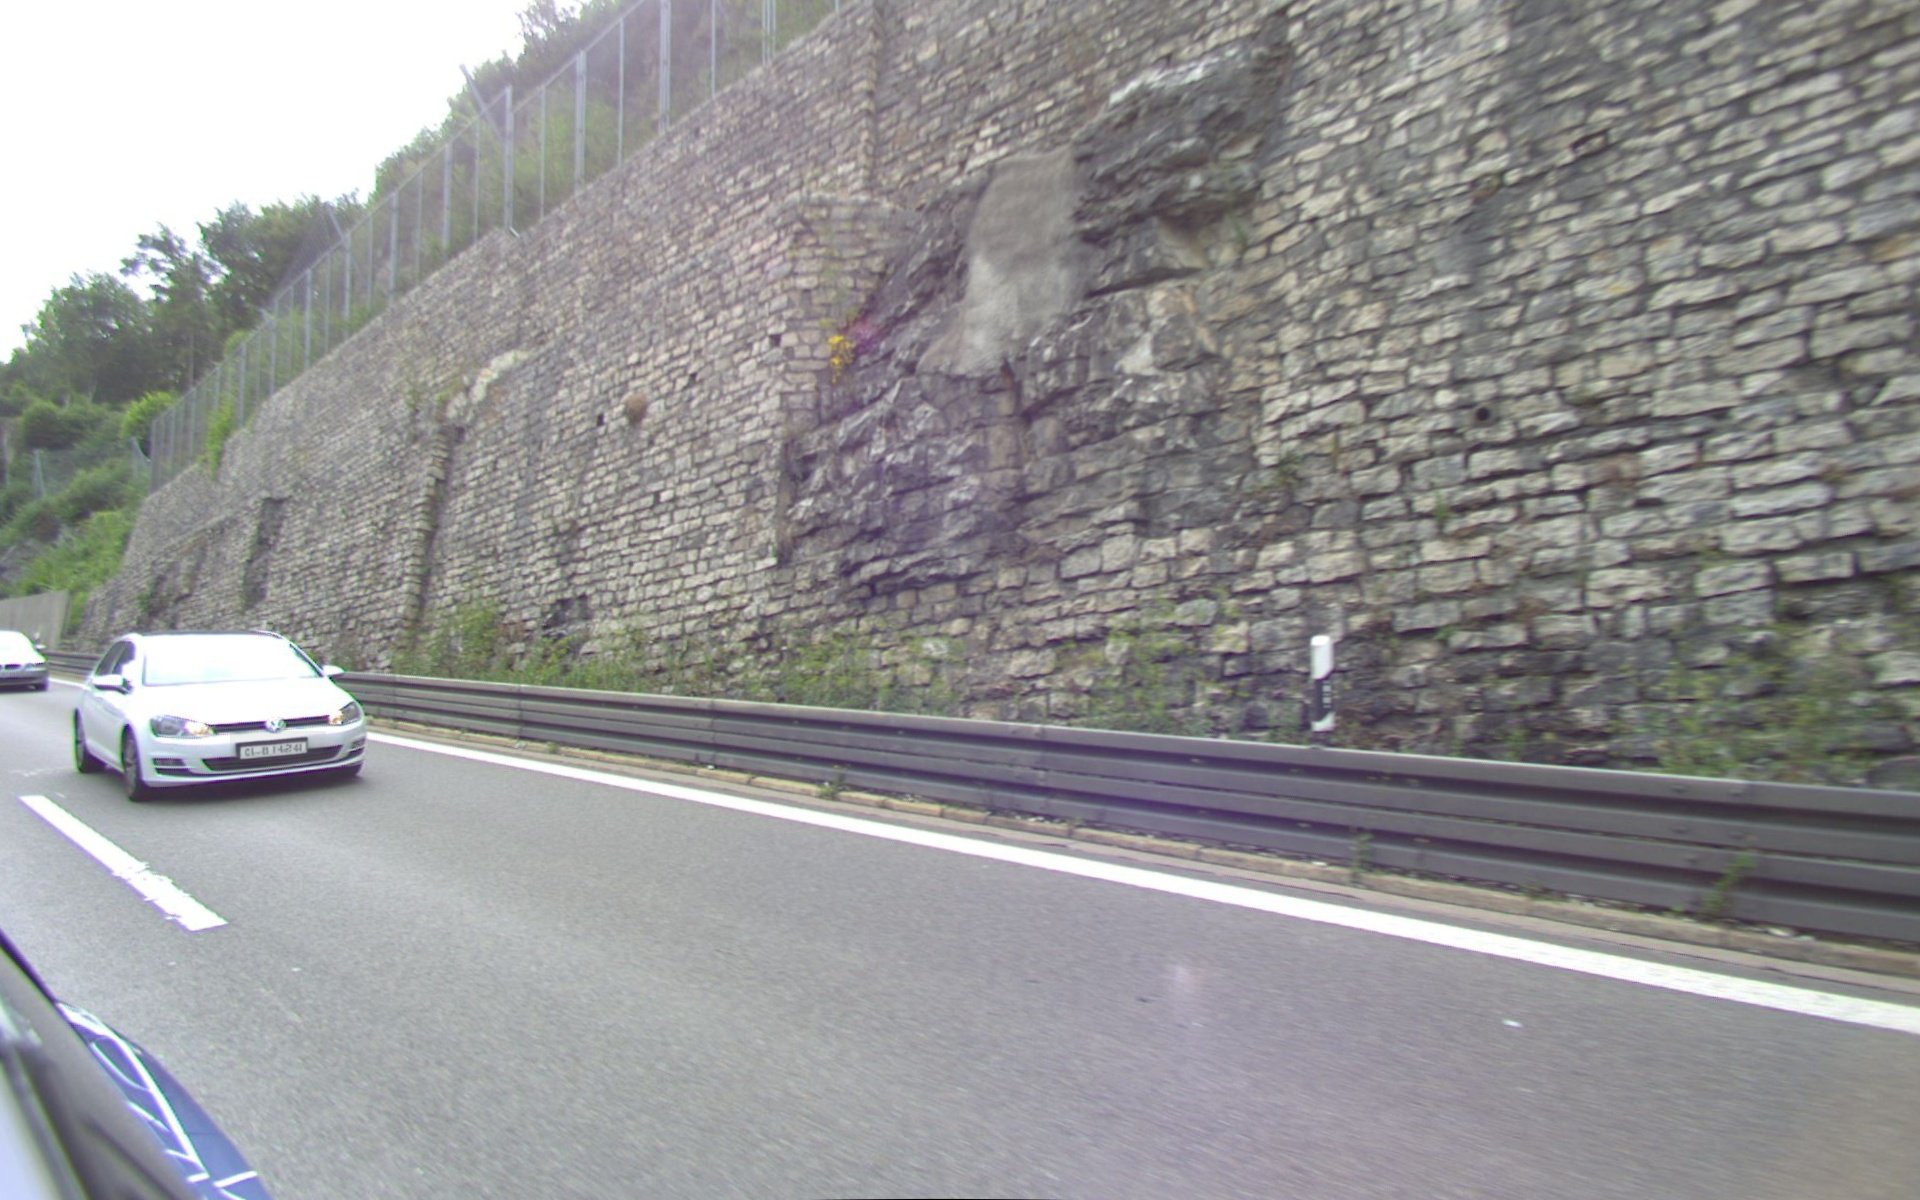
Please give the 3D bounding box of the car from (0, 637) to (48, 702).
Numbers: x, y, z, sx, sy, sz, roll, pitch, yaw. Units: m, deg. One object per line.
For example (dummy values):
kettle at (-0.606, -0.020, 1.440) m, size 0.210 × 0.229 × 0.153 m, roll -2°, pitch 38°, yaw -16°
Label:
car at (-24.300, 1.711, 25.189) m, size 5.132 × 1.468 × 1.809 m, roll -2°, pitch -2°, yaw 41°

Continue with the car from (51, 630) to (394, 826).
car at (-7.484, 1.054, 10.074) m, size 4.626 × 1.493 × 1.825 m, roll -1°, pitch -2°, yaw 42°
